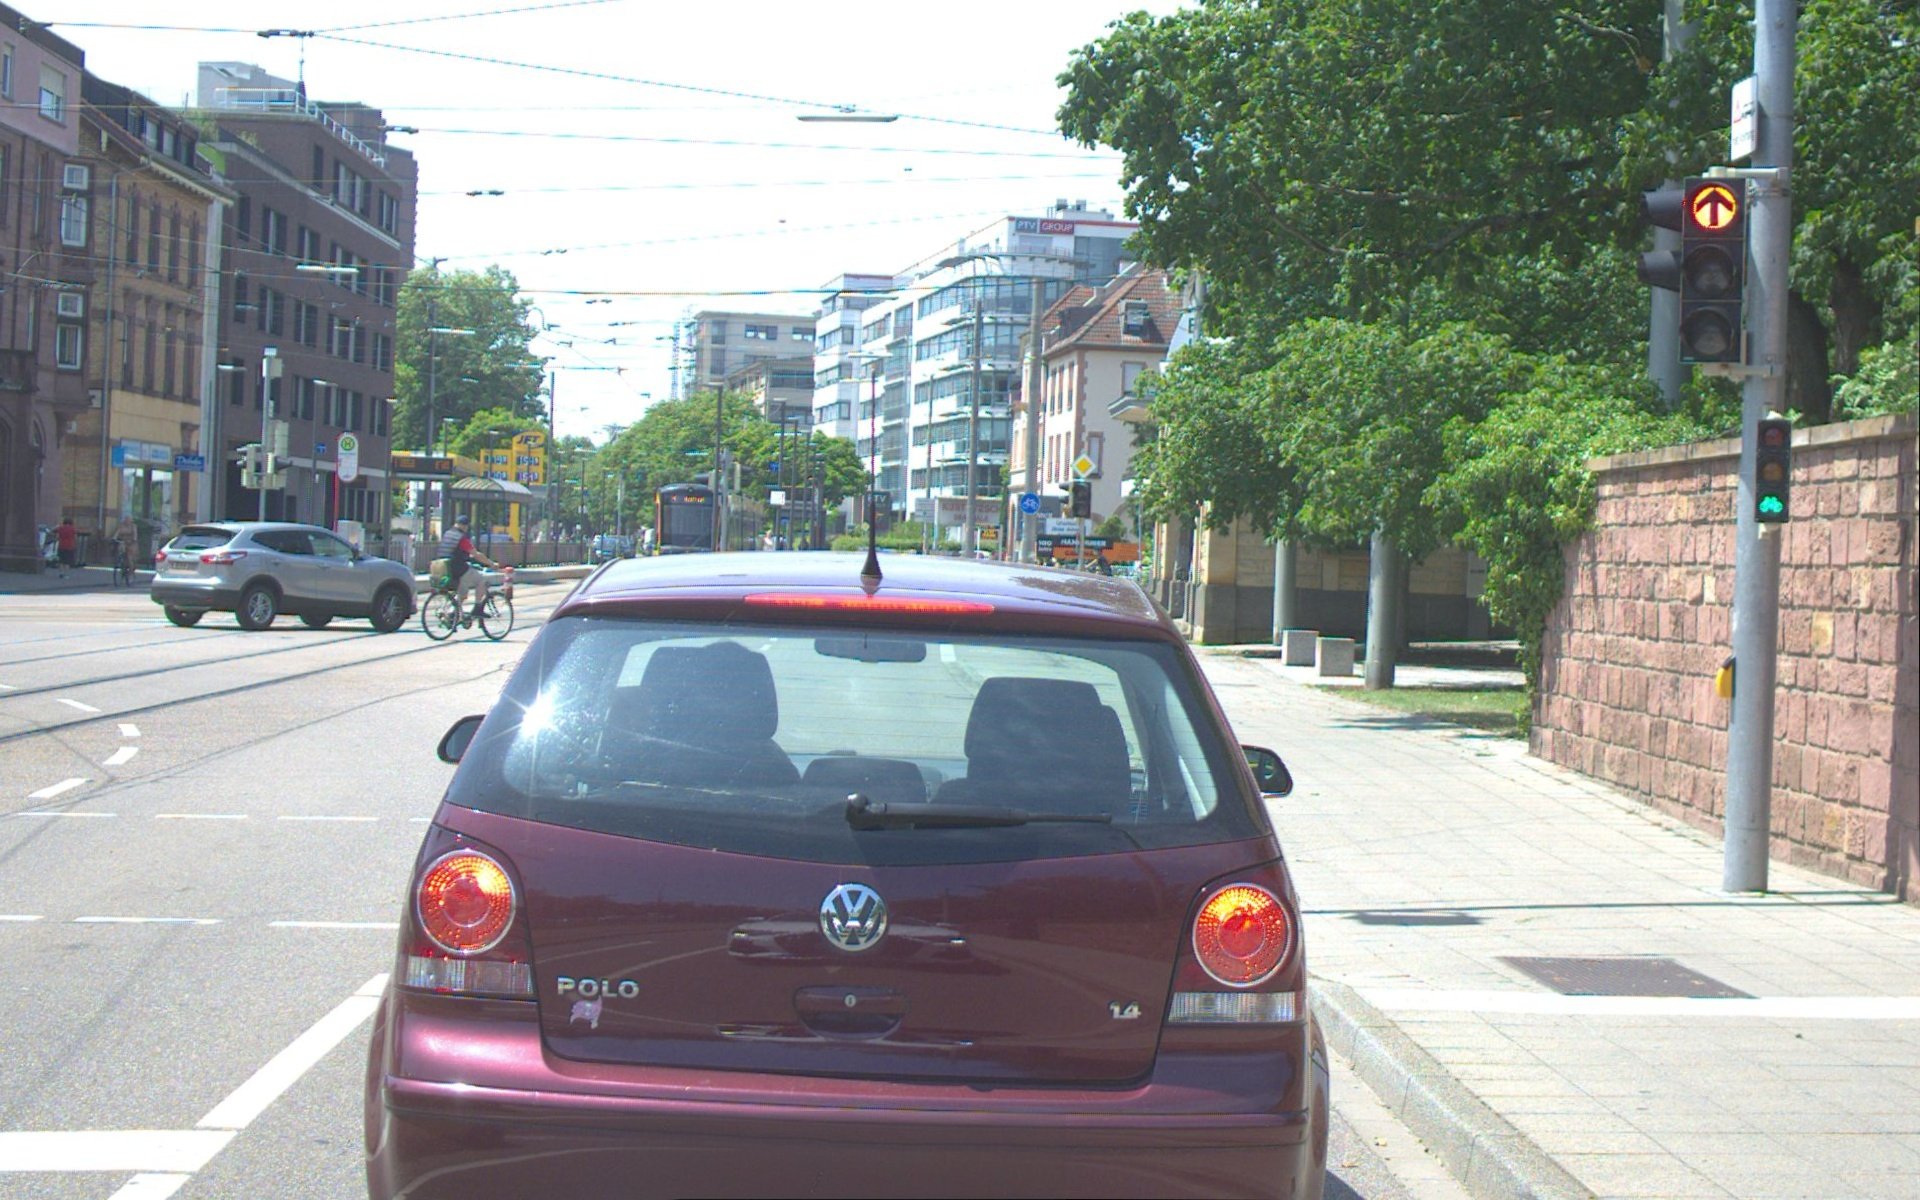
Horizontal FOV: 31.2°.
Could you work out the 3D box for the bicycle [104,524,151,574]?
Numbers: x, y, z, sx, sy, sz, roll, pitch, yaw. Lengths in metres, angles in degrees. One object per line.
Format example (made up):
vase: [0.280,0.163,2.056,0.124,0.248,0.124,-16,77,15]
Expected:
bicycle: [-20.349,-1.252,84.029,0.694,1.145,1.932,2,2,-2]

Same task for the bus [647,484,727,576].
bus: [-9.380,-2.400,118.694,2.145,2.993,6.574,2,1,0]

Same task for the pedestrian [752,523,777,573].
pedestrian: [-6.674,-1.765,117.387,0.763,1.669,1.100,2,1,0]

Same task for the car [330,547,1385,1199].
car: [-0.206,0.652,6.736,1.561,1.448,3.062,2,1,-2]

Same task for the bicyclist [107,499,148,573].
bicyclist: [-20.343,-1.563,84.047,0.694,1.759,1.137,2,2,-2]

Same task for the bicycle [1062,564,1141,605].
bicycle: [3.587,-0.391,86.960,1.859,0.999,0.670,0,2,18]

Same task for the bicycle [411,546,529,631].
bicycle: [-7.057,-0.156,49.576,0.376,1.193,1.901,3,2,39]

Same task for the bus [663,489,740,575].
bus: [-9.385,-2.466,125.268,2.233,2.993,6.594,2,1,0]

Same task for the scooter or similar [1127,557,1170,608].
scooter or similar: [4.573,-0.431,83.429,0.339,1.174,1.468,2,1,-25]

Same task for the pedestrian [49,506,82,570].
pedestrian: [-22.155,-1.527,85.127,0.614,1.555,0.640,2,1,-1]

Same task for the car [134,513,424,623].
car: [-10.142,-0.462,51.423,1.827,1.525,3.991,3,1,38]

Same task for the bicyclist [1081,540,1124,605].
bicyclist: [3.611,-0.697,86.930,0.858,1.612,0.834,-1,2,18]

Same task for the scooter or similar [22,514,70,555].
scooter or similar: [-24.424,-1.738,91.871,0.488,1.078,1.576,2,1,16]

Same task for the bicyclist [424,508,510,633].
bicyclist: [-7.103,-0.426,49.513,0.729,1.754,0.922,3,1,39]
